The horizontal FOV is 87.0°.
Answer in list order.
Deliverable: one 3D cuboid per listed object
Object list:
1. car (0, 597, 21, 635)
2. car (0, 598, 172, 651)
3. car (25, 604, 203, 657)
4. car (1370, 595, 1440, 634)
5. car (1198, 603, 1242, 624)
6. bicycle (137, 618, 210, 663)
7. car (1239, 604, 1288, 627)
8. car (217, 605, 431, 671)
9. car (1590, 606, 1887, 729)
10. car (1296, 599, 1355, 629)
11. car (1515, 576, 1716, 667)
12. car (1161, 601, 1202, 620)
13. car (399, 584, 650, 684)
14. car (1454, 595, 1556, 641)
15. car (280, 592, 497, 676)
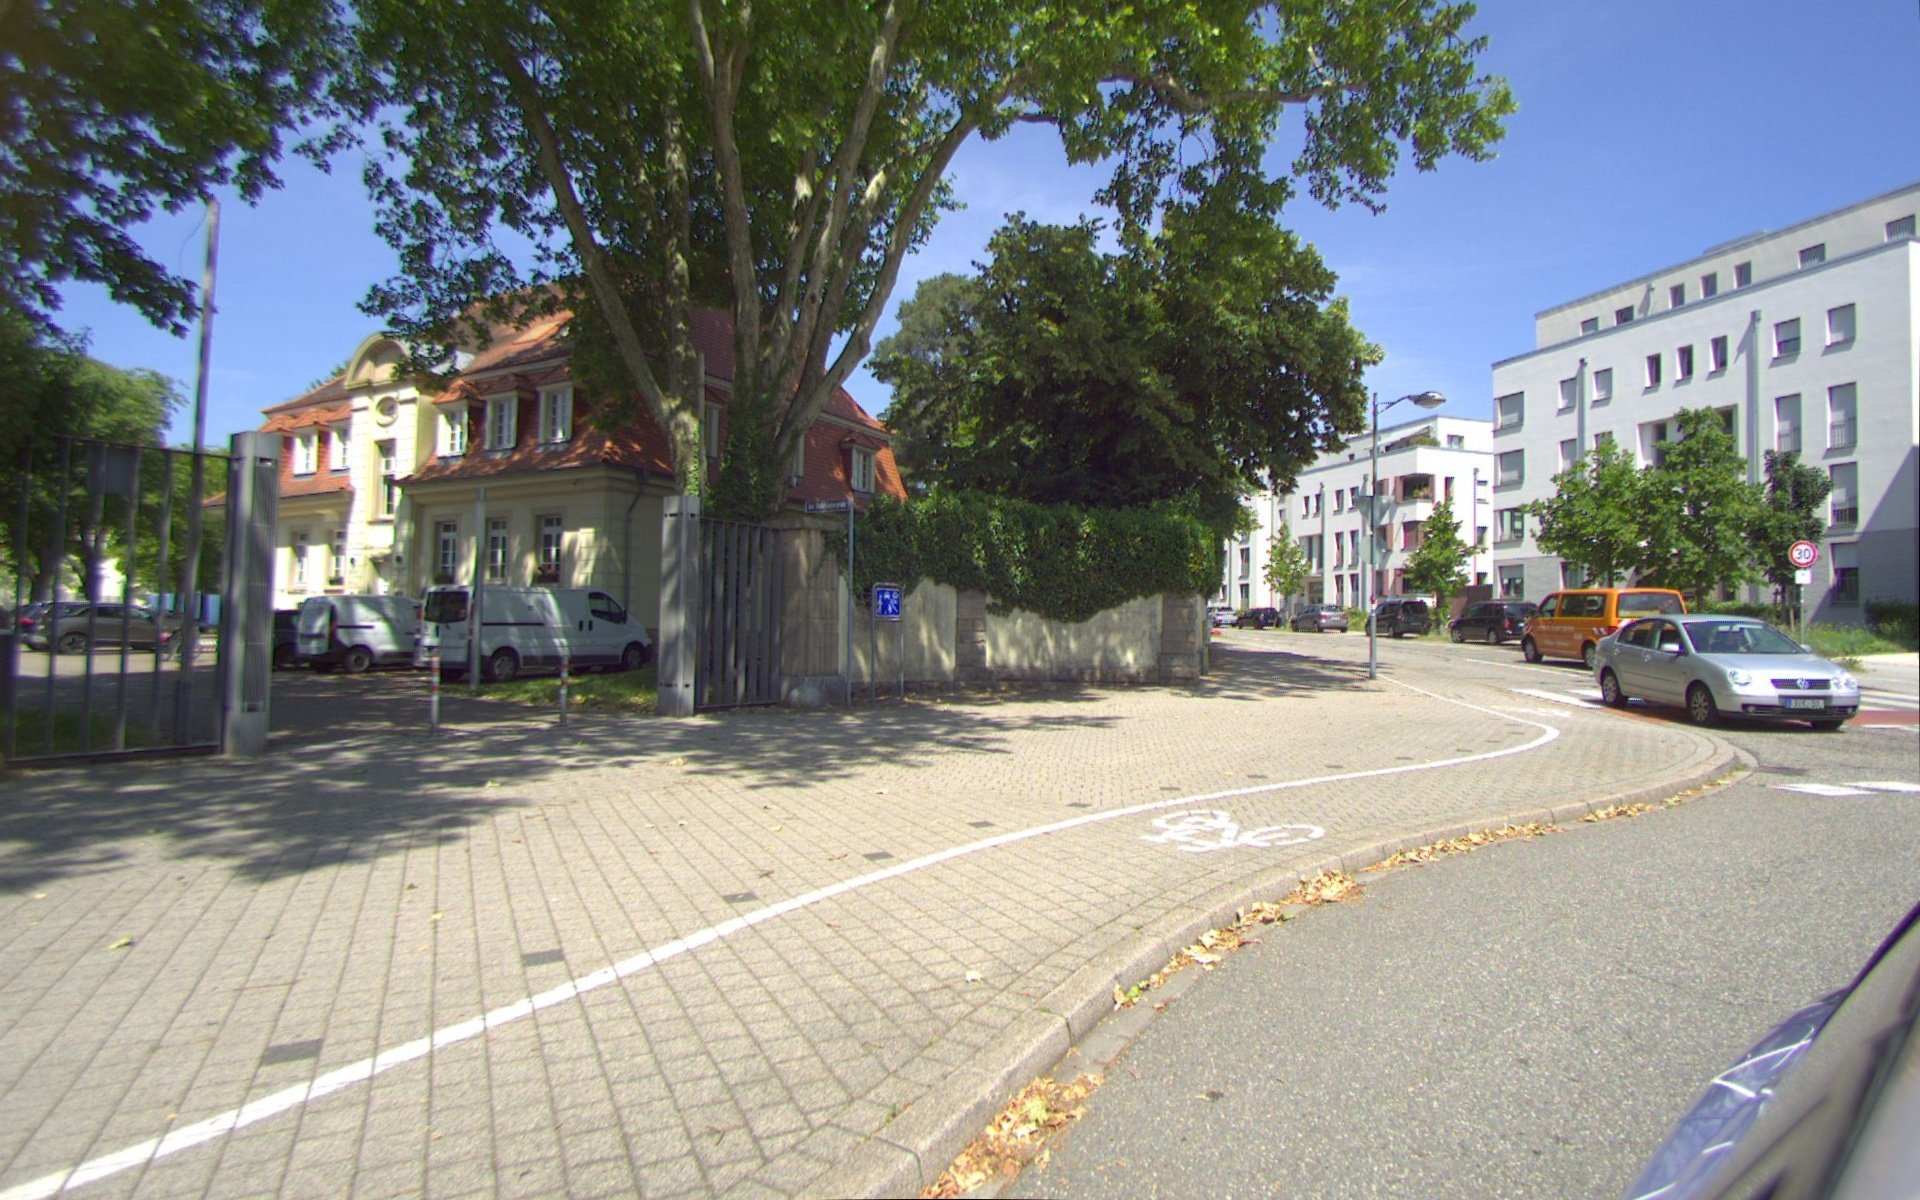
[{"bbox_3d":[-41.588,0.676,41.716,4.016,1.565,1.811,0,0,-37],"label":"car"},{"bbox_3d":[-29.057,0.771,33.763,1.799,1.633,4.043,0,0,34],"label":"car"},{"bbox_3d":[-26.939,0.927,32.351,1.799,1.565,4.043,0,0,34],"label":"car"},{"bbox_3d":[20.641,0.660,47.089,1.667,1.722,3.627,0,0,0],"label":"car"},{"bbox_3d":[18.272,0.901,71.275,1.672,1.431,3.727,0,0,-10],"label":"car"},{"bbox_3d":[-21.111,1.076,27.149,1.967,1.148,0.699,0,0,24],"label":"bicycle"},{"bbox_3d":[19.460,0.985,65.043,1.672,1.431,3.632,0,0,-7],"label":"car"},{"bbox_3d":[-16.013,0.892,25.711,1.796,1.503,4.287,0,0,29],"label":"car"},{"bbox_3d":[10.743,0.827,14.369,1.582,1.470,3.990,0,0,9],"label":"car"},{"bbox_3d":[20.423,0.747,56.678,1.755,1.610,3.631,0,0,-5],"label":"car"},{"bbox_3d":[15.968,0.484,25.060,1.915,1.984,5.015,-1,0,4],"label":"car"},{"bbox_3d":[17.031,0.773,77.989,1.671,1.431,3.728,0,0,-12],"label":"car"},{"bbox_3d":[-9.183,0.650,21.813,1.958,1.910,4.817,0,0,28],"label":"car"},{"bbox_3d":[20.512,0.634,38.293,1.667,1.658,4.020,0,0,0],"label":"car"},{"bbox_3d":[-13.673,0.742,24.501,1.825,1.834,4.289,0,0,28],"label":"car"}]
